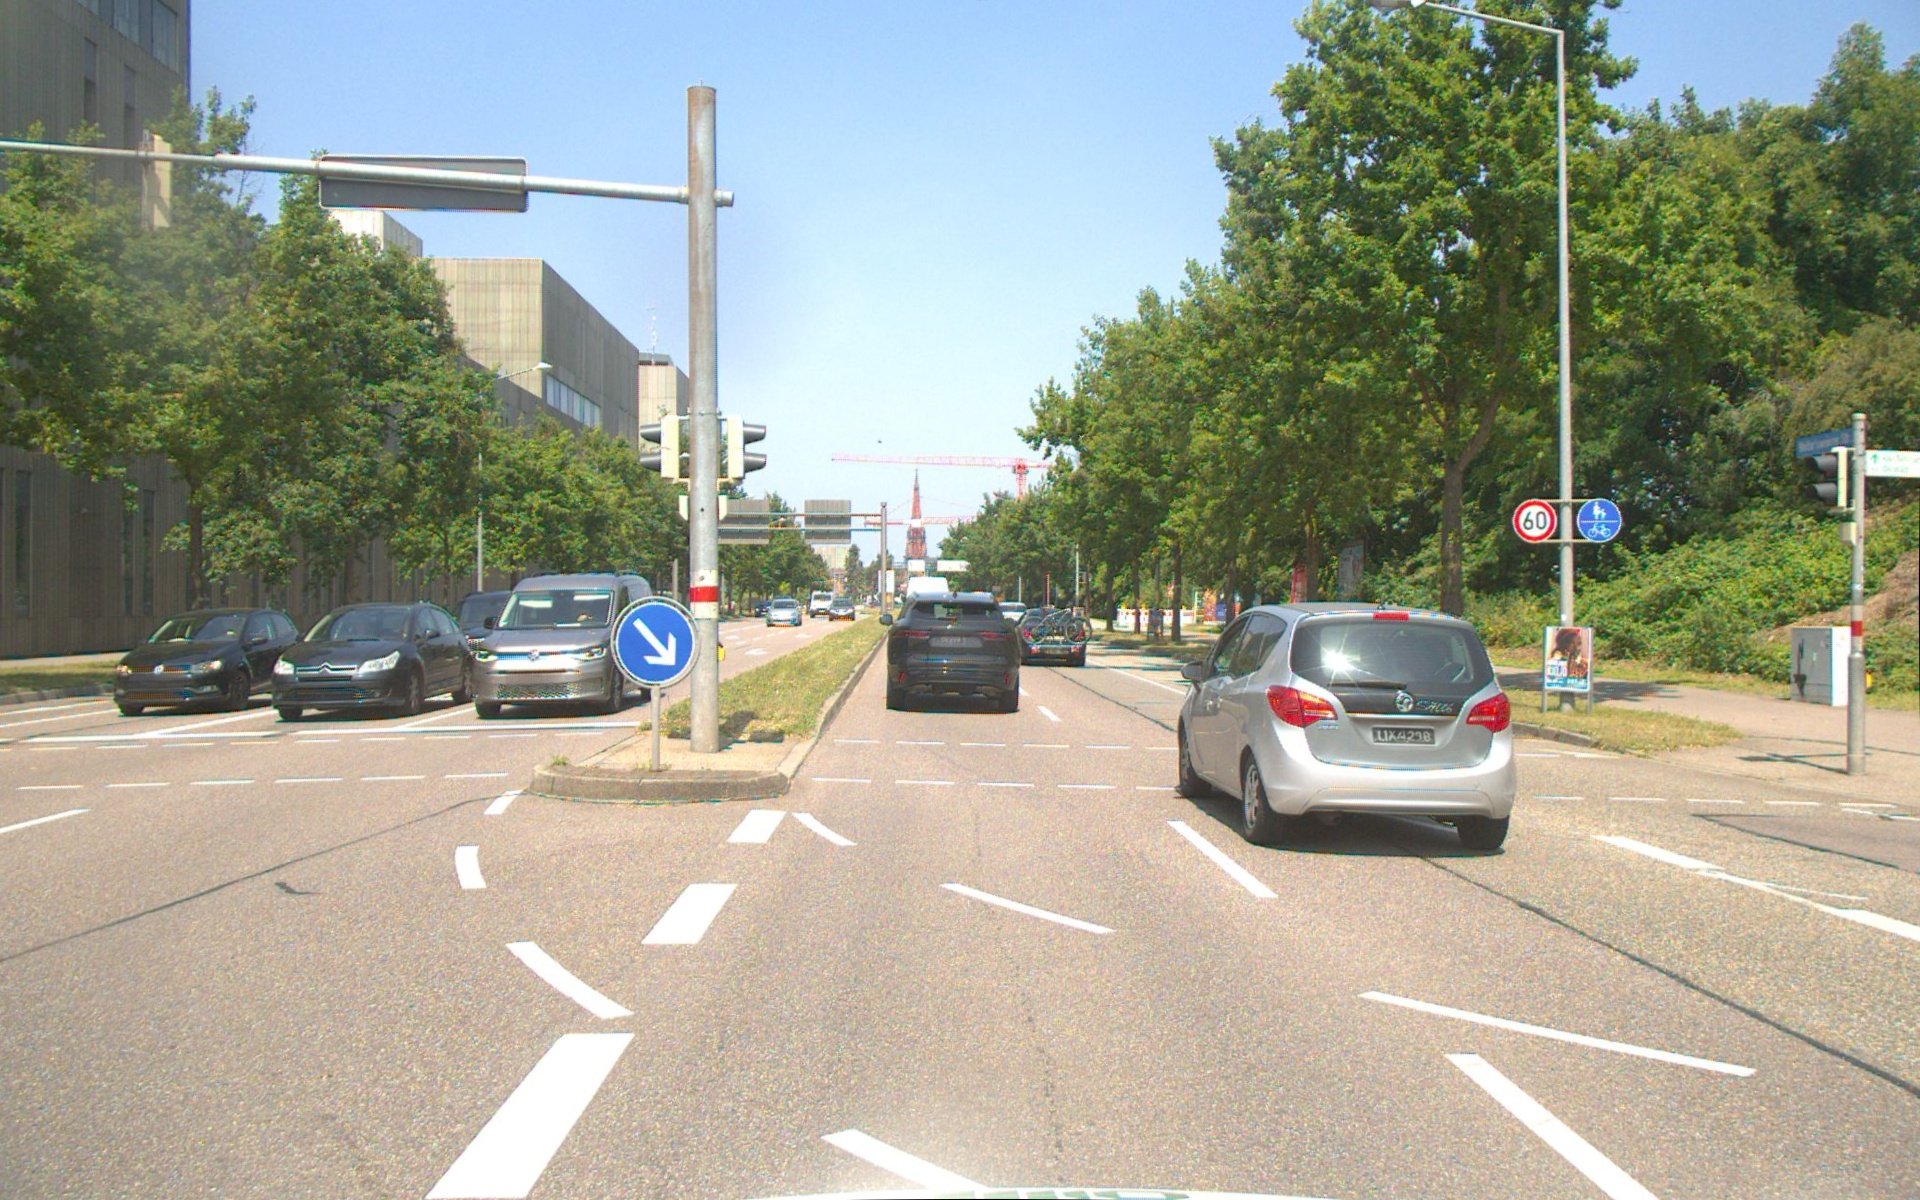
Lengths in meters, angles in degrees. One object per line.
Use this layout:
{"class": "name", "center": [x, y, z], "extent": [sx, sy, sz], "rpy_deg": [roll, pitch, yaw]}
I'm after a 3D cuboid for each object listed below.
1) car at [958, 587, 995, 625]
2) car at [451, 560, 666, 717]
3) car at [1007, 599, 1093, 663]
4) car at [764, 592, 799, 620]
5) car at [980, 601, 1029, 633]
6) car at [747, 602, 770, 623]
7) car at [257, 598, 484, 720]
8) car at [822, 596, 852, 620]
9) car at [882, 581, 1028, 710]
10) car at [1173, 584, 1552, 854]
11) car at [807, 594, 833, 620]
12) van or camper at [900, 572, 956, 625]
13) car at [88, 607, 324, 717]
{"class": "car", "center": [0.880, 0.343, 90.923], "extent": [1.953, 2.049, 3.999], "rpy_deg": [0, 0, -1]}
{"class": "car", "center": [-5.218, 0.442, 22.148], "extent": [1.773, 1.832, 4.713], "rpy_deg": [-1, 0, -1]}
{"class": "car", "center": [2.259, 0.768, 42.536], "extent": [1.973, 1.544, 4.460], "rpy_deg": [0, 0, 0]}
{"class": "car", "center": [-9.874, 0.304, 91.704], "extent": [1.731, 1.486, 4.142], "rpy_deg": [-1, 0, -4]}
{"class": "car", "center": [1.922, 0.729, 72.154], "extent": [1.622, 1.380, 4.455], "rpy_deg": [0, 0, -6]}
{"class": "car", "center": [-17.879, 1.115, 146.880], "extent": [1.774, 1.777, 4.643], "rpy_deg": [-1, 0, -4]}
{"class": "car", "center": [-7.892, 0.721, 22.553], "extent": [1.774, 1.471, 4.247], "rpy_deg": [-1, 0, -4]}
{"class": "car", "center": [-8.230, 0.520, 110.713], "extent": [1.773, 1.492, 4.056], "rpy_deg": [-1, 0, -1]}
{"class": "car", "center": [-0.067, 0.622, 24.565], "extent": [1.957, 1.719, 4.033], "rpy_deg": [1, 0, 0]}
{"class": "car", "center": [2.745, 0.740, 12.186], "extent": [1.756, 1.640, 3.890], "rpy_deg": [1, 0, -1]}
{"class": "car", "center": [-11.383, 0.528, 134.534], "extent": [1.871, 2.028, 4.895], "rpy_deg": [-1, 0, -2]}
{"class": "van or camper", "center": [-1.507, -0.050, 75.831], "extent": [2.443, 2.331, 4.918], "rpy_deg": [0, 0, -3]}
{"class": "car", "center": [-11.069, 0.847, 24.620], "extent": [1.774, 1.442, 4.247], "rpy_deg": [-1, 0, -4]}
